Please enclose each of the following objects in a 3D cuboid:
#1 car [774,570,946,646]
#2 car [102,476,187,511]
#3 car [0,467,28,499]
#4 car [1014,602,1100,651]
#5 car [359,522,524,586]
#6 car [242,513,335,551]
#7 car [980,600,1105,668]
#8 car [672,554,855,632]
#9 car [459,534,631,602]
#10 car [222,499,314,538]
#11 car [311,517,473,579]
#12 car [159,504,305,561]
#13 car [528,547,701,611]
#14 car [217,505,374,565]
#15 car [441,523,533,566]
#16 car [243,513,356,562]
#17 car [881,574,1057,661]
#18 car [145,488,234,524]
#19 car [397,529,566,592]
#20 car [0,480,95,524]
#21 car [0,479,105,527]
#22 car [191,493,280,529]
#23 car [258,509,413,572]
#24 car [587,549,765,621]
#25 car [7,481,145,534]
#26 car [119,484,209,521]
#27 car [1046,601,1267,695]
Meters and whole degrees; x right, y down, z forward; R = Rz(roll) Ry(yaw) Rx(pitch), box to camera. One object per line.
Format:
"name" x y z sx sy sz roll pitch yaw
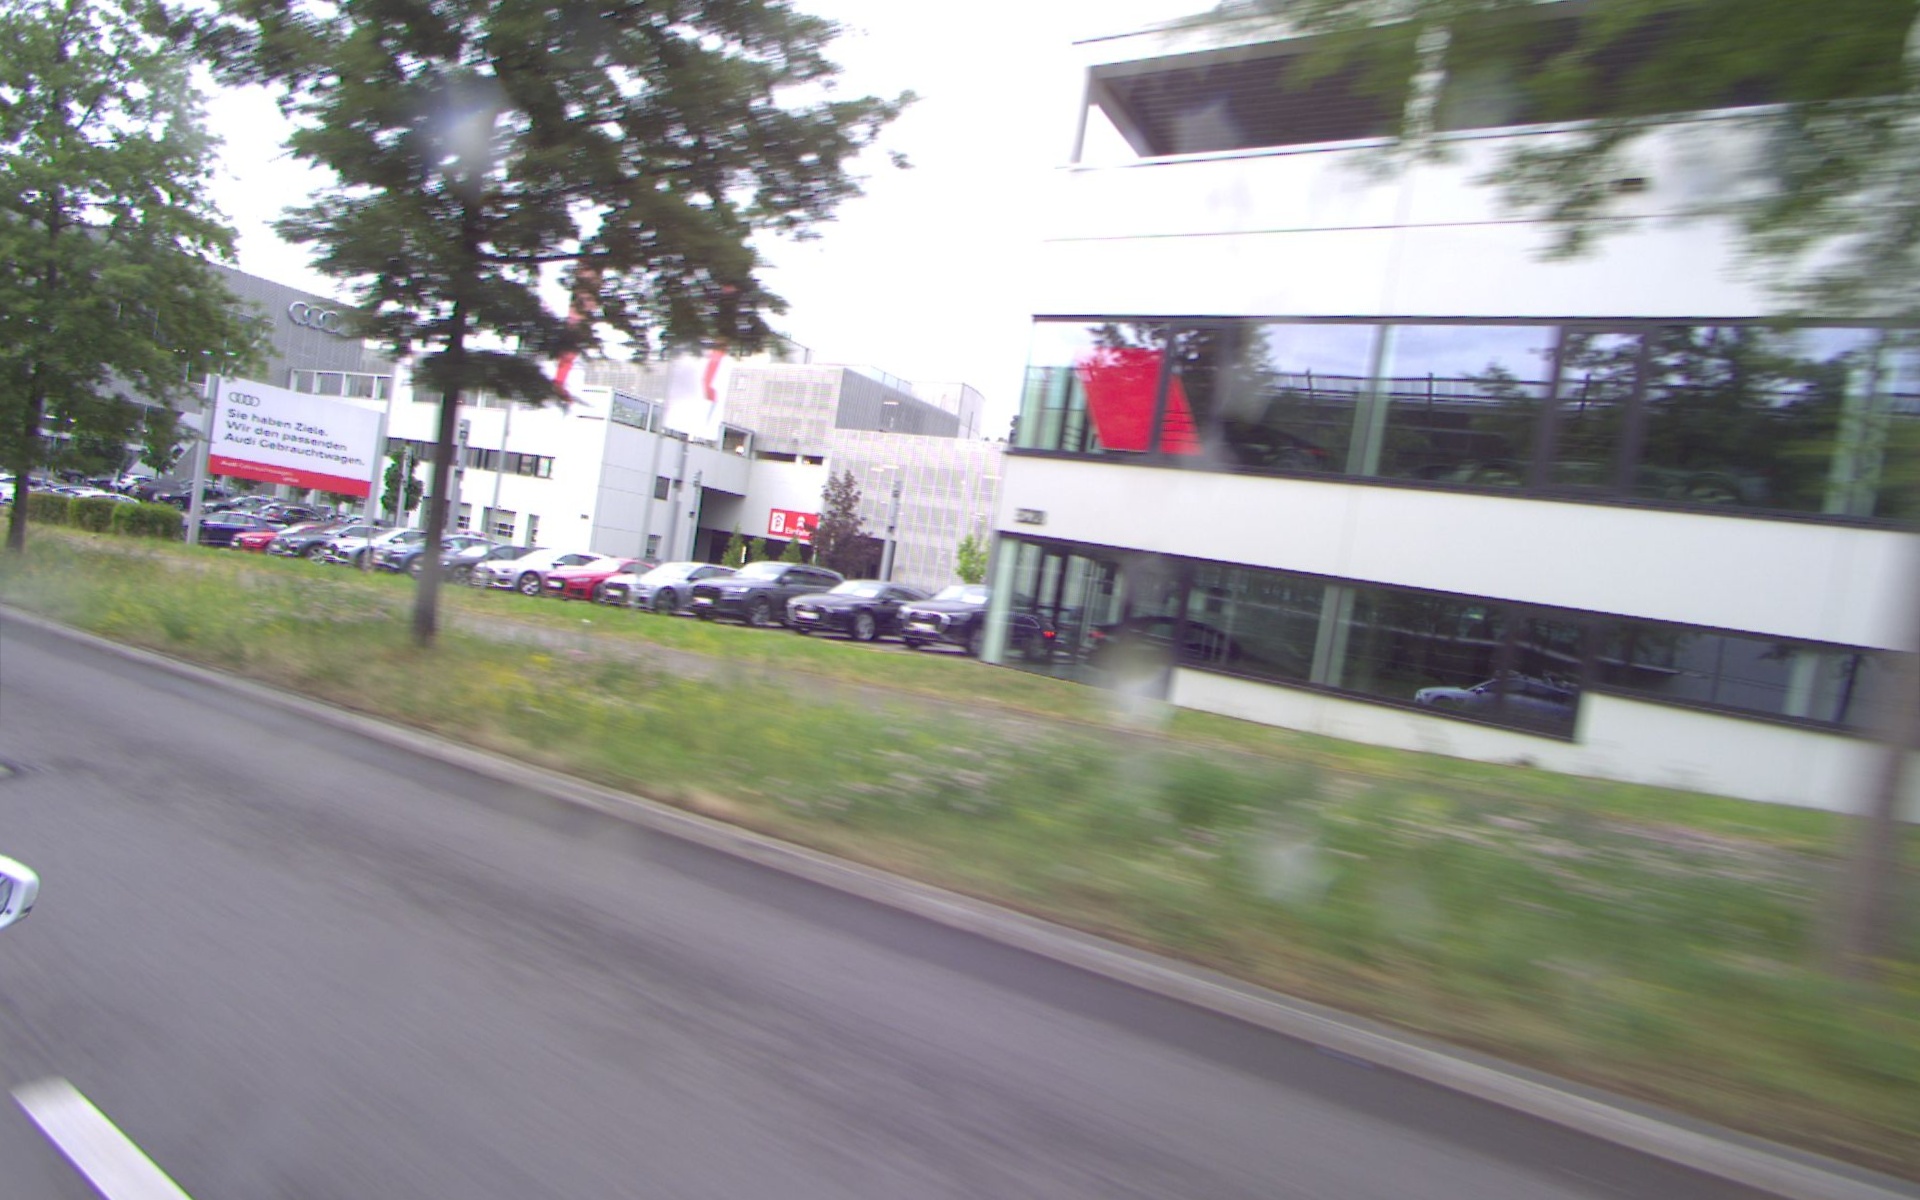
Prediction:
"car" -2.242 0.236 23.729 1.805 1.395 4.326 6 0 29
"car" -56.090 -7.308 69.256 1.664 1.592 4.114 8 -1 30
"car" -55.002 -6.823 56.067 1.664 1.592 4.114 8 -1 30
"car" 3.977 1.098 40.607 1.796 1.613 4.284 6 -1 29
"car" -17.126 -1.476 33.455 1.899 1.547 4.466 6 0 31
"car" -39.207 -3.940 58.821 1.664 1.593 4.113 6 -1 30
"car" 2.429 1.017 28.596 1.796 1.570 4.284 6 -1 29
"car" -4.855 -0.122 25.481 2.006 1.519 4.402 6 0 31
"car" -12.367 -0.906 30.268 1.899 1.473 4.468 6 -1 31
"car" -41.277 -4.870 60.125 1.664 1.593 4.113 7 -1 30
"car" -19.624 -1.766 34.964 1.899 1.570 4.466 6 0 31
"car" -28.526 -2.623 39.505 4.279 1.613 1.838 7 0 0
"car" -9.680 -0.552 28.531 1.899 1.365 4.402 6 0 31
"car" -24.774 -2.390 37.681 1.897 1.570 4.471 6 -1 27
"car" -28.821 -3.347 61.404 1.968 1.877 4.530 8 -1 35
"car" -27.875 -2.611 42.547 3.496 1.614 1.770 7 2 -1
"car" 0.319 0.455 22.606 1.899 1.499 4.404 6 -1 31
"car" -49.619 -6.036 64.878 1.664 1.593 4.112 9 0 30
"car" -14.971 -1.206 31.726 1.899 1.474 4.466 6 0 31
"car" -46.515 -4.978 50.323 1.664 1.613 4.527 6 -1 30
"car" -44.845 -4.759 49.283 1.664 1.612 4.114 6 -2 30
"car" -45.343 -5.558 63.026 1.664 1.593 4.112 7 -1 30
"car" -22.195 -2.092 35.911 1.796 1.613 4.284 6 -1 29
"car" -7.464 -0.354 26.892 1.859 1.445 4.402 6 0 31
"car" -39.465 -4.115 45.042 1.913 1.613 4.119 6 -2 23
"car" -52.161 -6.377 66.002 1.795 1.592 4.114 8 -1 30
"car" 3.928 0.947 20.224 3.857 1.354 1.900 6 0 31
